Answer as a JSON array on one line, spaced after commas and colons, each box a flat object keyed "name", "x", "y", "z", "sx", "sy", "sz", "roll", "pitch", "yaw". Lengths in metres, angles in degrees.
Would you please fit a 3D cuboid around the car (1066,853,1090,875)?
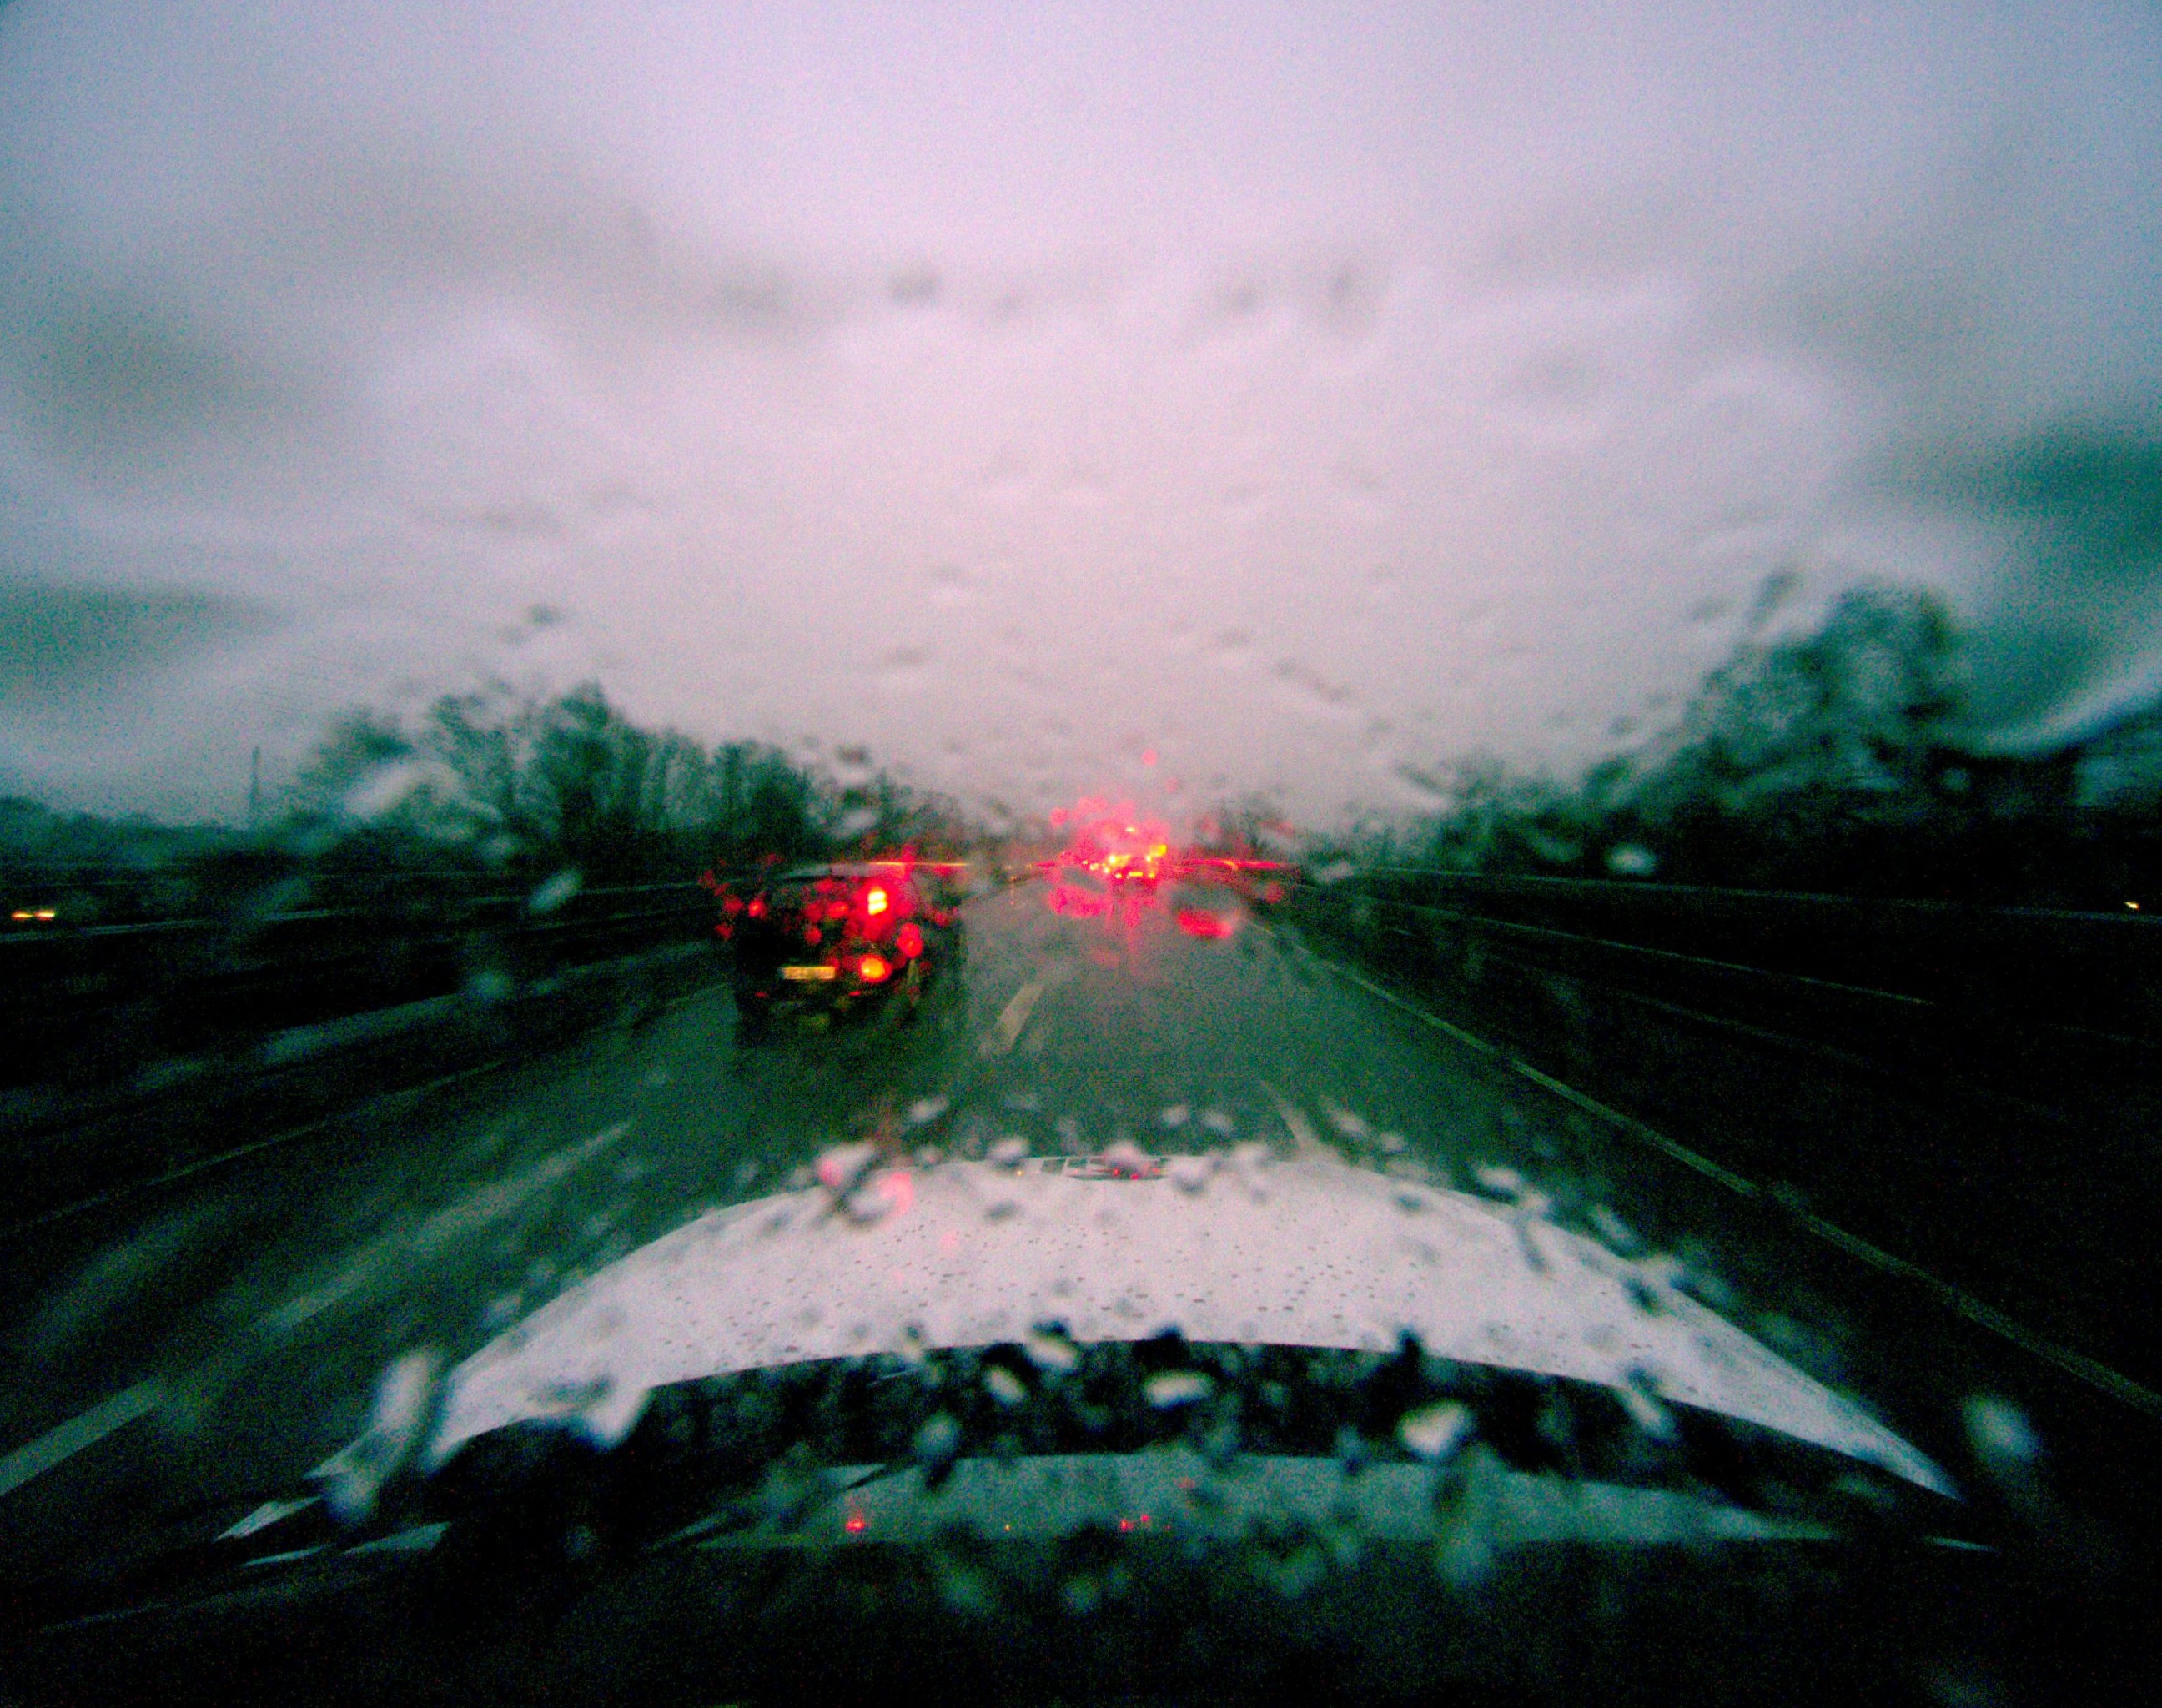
[{"name": "car", "x": -0.215, "y": 0.849, "z": 70.110, "sx": 1.987, "sy": 1.815, "sz": 4.001, "roll": 2, "pitch": 0, "yaw": 1}]

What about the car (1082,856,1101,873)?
[{"name": "car", "x": 1.197, "y": 1.128, "z": 88.631, "sx": 1.987, "sy": 1.714, "sz": 4.000, "roll": 1, "pitch": -1, "yaw": 1}]

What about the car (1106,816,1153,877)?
[{"name": "car", "x": 2.540, "y": -0.305, "z": 43.632, "sx": 2.273, "sy": 2.966, "sz": 6.394, "roll": -2, "pitch": -1, "yaw": 2}]

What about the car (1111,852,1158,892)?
[{"name": "car", "x": 2.147, "y": 0.671, "z": 32.446, "sx": 1.729, "sy": 1.414, "sz": 4.382, "roll": 1, "pitch": 0, "yaw": 4}]

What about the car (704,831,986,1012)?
[{"name": "car", "x": -2.286, "y": 0.641, "z": 9.063, "sx": 1.723, "sy": 1.533, "sz": 4.045, "roll": -1, "pitch": -2, "yaw": 3}]
